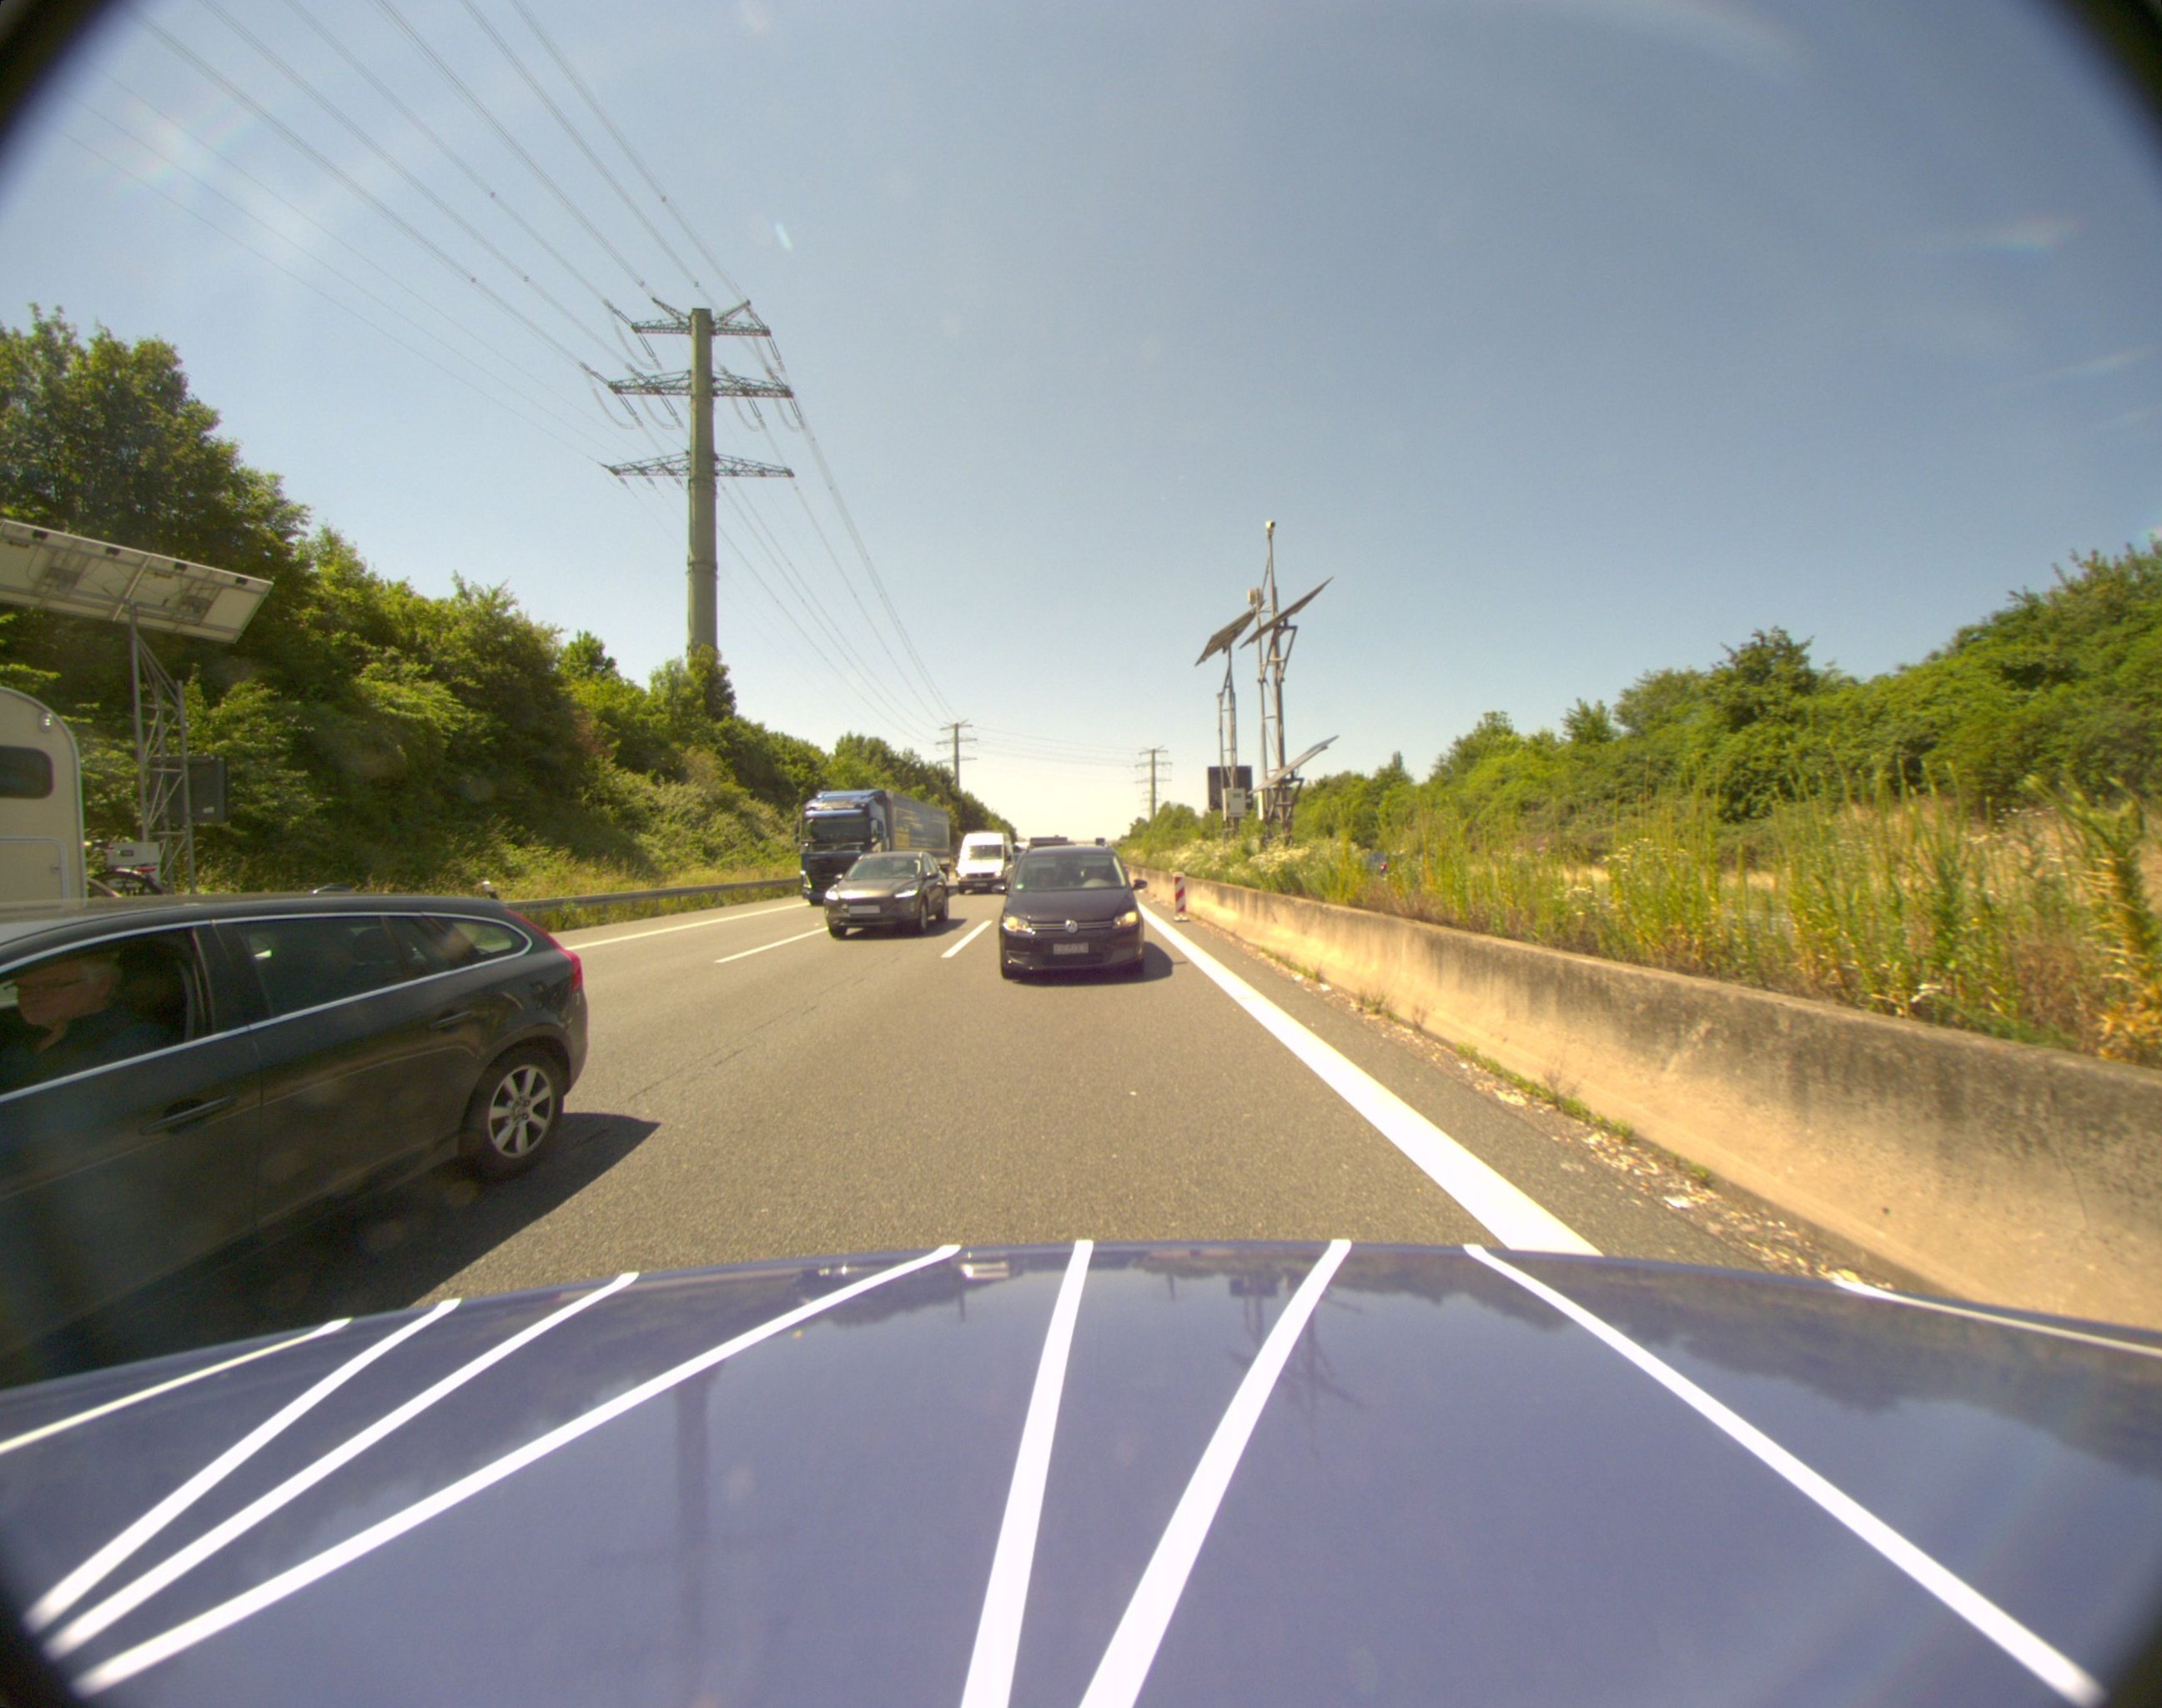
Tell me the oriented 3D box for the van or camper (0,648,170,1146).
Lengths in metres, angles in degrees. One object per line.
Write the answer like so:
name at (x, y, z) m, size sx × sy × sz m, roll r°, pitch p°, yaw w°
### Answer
van or camper at (-7.769, 0.340, 1.575) m, size 2.375 × 3.026 × 7.631 m, roll -2°, pitch 1°, yaw 0°

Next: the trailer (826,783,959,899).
trailer at (-8.113, -0.567, 34.985) m, size 2.774 × 4.239 × 12.875 m, roll -2°, pitch 1°, yaw 0°

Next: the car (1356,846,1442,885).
car at (14.647, 0.468, 35.311) m, size 1.999 × 1.640 × 4.629 m, roll 1°, pitch 0°, yaw 0°

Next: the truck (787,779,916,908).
truck at (-8.095, -0.374, 27.632) m, size 2.792 × 4.121 × 5.635 m, roll -2°, pitch 1°, yaw 0°

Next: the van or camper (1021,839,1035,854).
van or camper at (-9.001, -1.250, 130.073) m, size 1.979 × 2.511 × 4.369 m, roll -2°, pitch 1°, yaw 0°

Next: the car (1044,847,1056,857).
car at (-4.930, -0.376, 121.100) m, size 1.720 × 1.510 × 3.873 m, roll -2°, pitch 1°, yaw 0°

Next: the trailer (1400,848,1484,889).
trailer at (14.652, 0.545, 31.073) m, size 1.572 × 1.543 × 3.778 m, roll 1°, pitch 1°, yaw 0°

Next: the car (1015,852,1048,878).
car at (-3.071, 0.657, 47.686) m, size 1.720 × 1.510 × 3.873 m, roll -2°, pitch 1°, yaw 0°

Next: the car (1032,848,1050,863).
car at (-4.342, 0.150, 83.394) m, size 1.720 × 1.510 × 3.873 m, roll -2°, pitch 1°, yaw 0°

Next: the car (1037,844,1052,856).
car at (-5.068, -0.606, 105.718) m, size 1.720 × 1.510 × 3.873 m, roll -2°, pitch 1°, yaw 0°

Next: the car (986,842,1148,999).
car at (-0.157, 0.701, 10.392) m, size 1.700 × 1.641 × 4.219 m, roll -2°, pitch 1°, yaw 0°

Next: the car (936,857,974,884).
car at (-7.980, 1.013, 48.452) m, size 1.720 × 1.510 × 3.873 m, roll -2°, pitch 1°, yaw 0°

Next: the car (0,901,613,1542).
car at (-3.626, 1.045, 2.113) m, size 1.799 × 1.411 × 4.509 m, roll -2°, pitch 1°, yaw 0°

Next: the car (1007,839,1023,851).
car at (-8.559, -1.159, 98.867) m, size 1.720 × 1.510 × 3.873 m, roll -2°, pitch 1°, yaw 0°

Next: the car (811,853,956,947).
car at (-3.973, 0.839, 16.069) m, size 1.893 × 1.602 × 4.219 m, roll -2°, pitch 1°, yaw 0°

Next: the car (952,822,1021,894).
car at (-3.923, 0.115, 32.826) m, size 2.042 × 2.703 × 6.704 m, roll -2°, pitch 1°, yaw 0°

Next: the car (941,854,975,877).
car at (-8.975, 0.798, 55.689) m, size 1.720 × 1.510 × 3.873 m, roll -2°, pitch 1°, yaw 0°

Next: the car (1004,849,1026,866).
car at (-6.368, 0.345, 73.685) m, size 1.720 × 1.510 × 3.873 m, roll -2°, pitch 1°, yaw 0°

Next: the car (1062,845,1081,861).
car at (-1.001, -0.165, 84.374) m, size 1.973 × 1.682 × 3.873 m, roll -2°, pitch 1°, yaw 0°

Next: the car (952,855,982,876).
car at (-9.076, 0.874, 60.767) m, size 1.720 × 1.510 × 3.873 m, roll -2°, pitch 1°, yaw 0°

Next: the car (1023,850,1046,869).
car at (-4.006, 0.434, 65.938) m, size 1.720 × 1.510 × 3.873 m, roll -2°, pitch 1°, yaw 0°

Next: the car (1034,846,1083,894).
car at (-0.822, 0.563, 29.343) m, size 1.700 × 1.641 × 4.219 m, roll -2°, pitch 1°, yaw 0°

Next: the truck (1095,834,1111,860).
truck at (2.947, -0.980, 103.086) m, size 1.892 × 3.264 × 5.590 m, roll -2°, pitch 1°, yaw 0°
